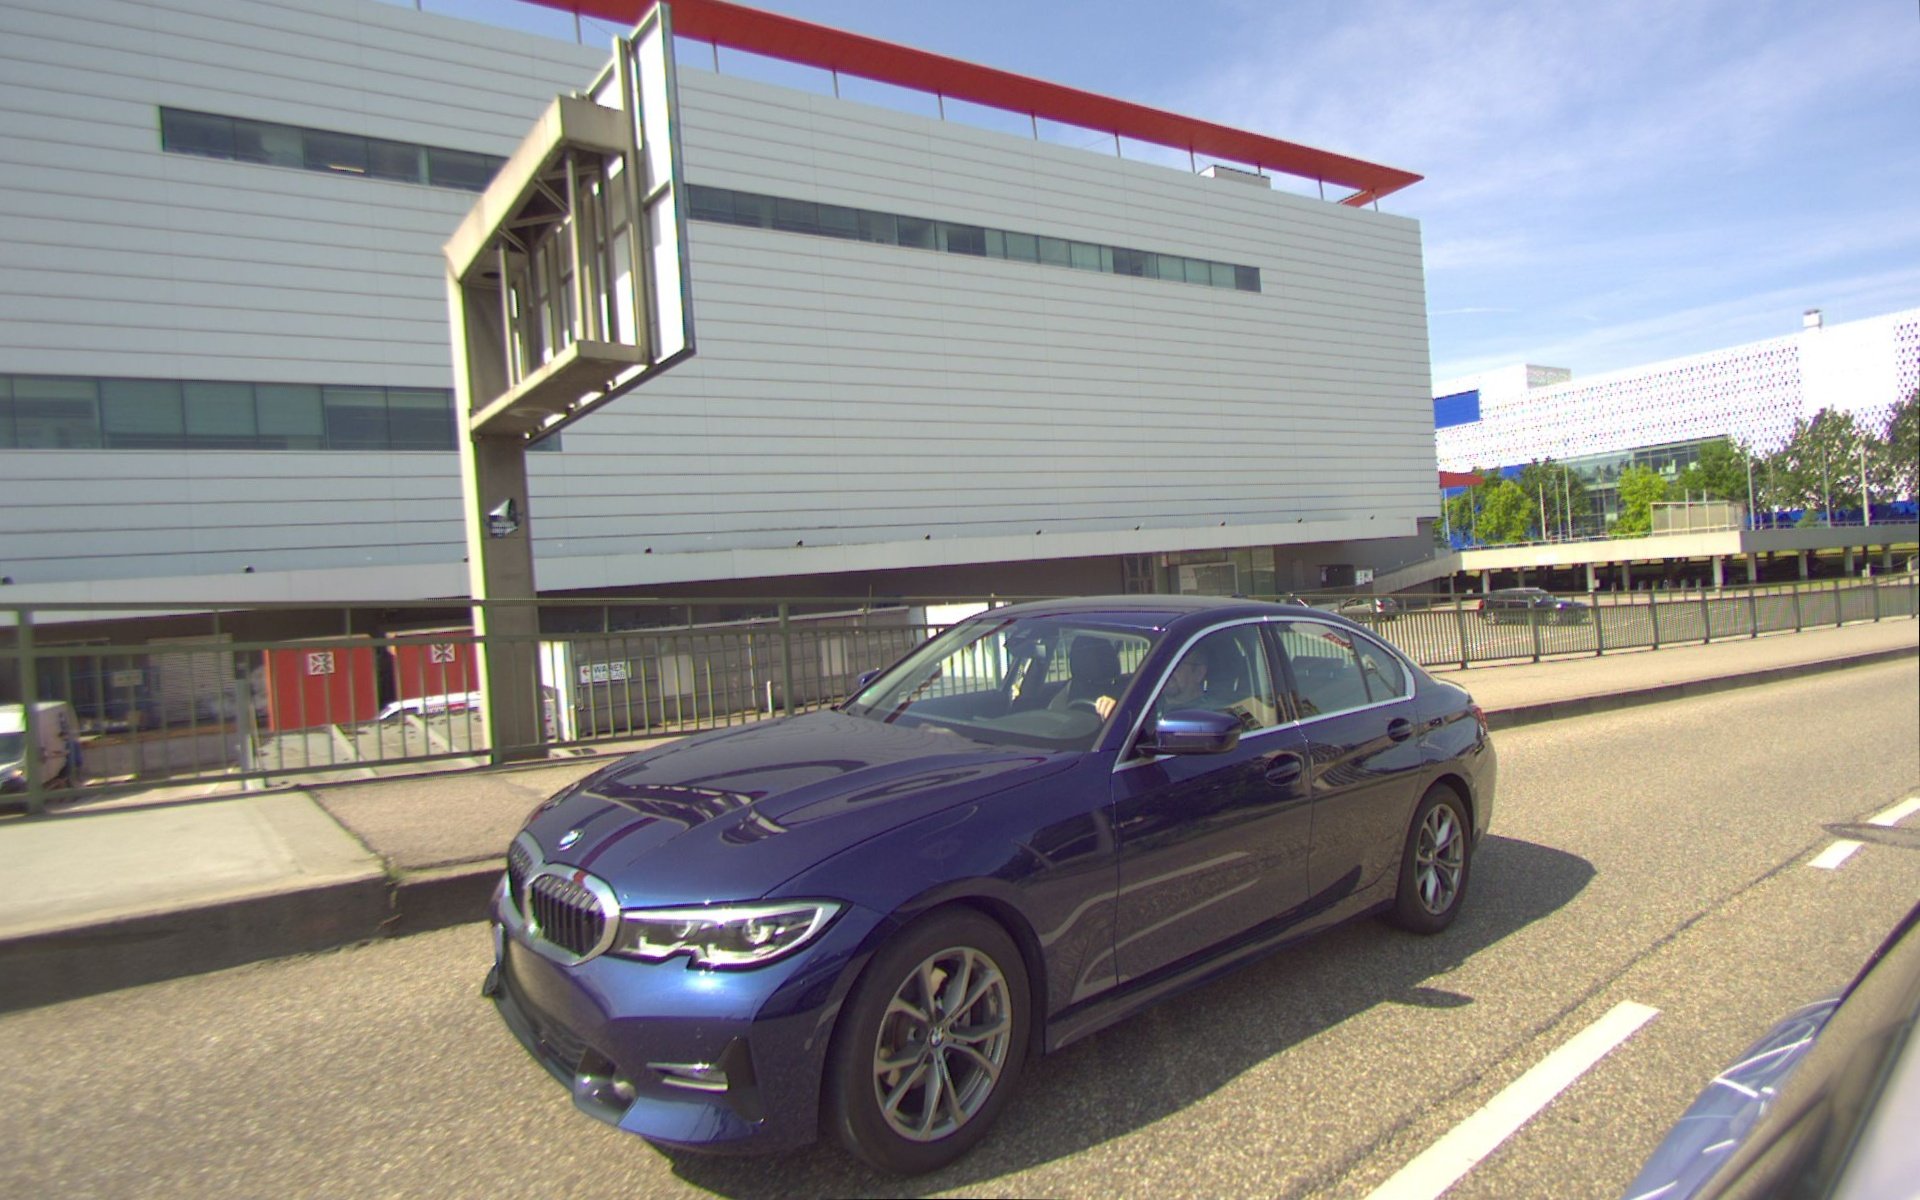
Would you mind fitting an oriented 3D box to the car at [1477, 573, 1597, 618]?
[{"bbox_3d":[25.931,-0.146,45.648,1.824,1.753,4.425,-5,0,-22],"label":"car"}]

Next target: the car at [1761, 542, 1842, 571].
[{"bbox_3d":[63.398,-3.267,76.306,1.963,1.857,4.315,-3,0,-37],"label":"car"}]

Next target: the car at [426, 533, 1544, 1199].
[{"bbox_3d":[0.513,0.626,4.150,4.443,1.501,1.790,-5,1,-40],"label":"car"}]

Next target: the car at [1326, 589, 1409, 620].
[{"bbox_3d":[22.400,0.271,55.799,1.776,1.393,3.870,-4,-1,-31],"label":"car"}]

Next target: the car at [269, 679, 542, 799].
[{"bbox_3d":[-14.265,3.472,26.336,5.896,2.029,2.133,-5,2,-31],"label":"car"}]

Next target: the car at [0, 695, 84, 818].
[{"bbox_3d":[-25.127,4.069,26.526,2.091,2.653,6.015,-5,0,-31],"label":"car"}]
